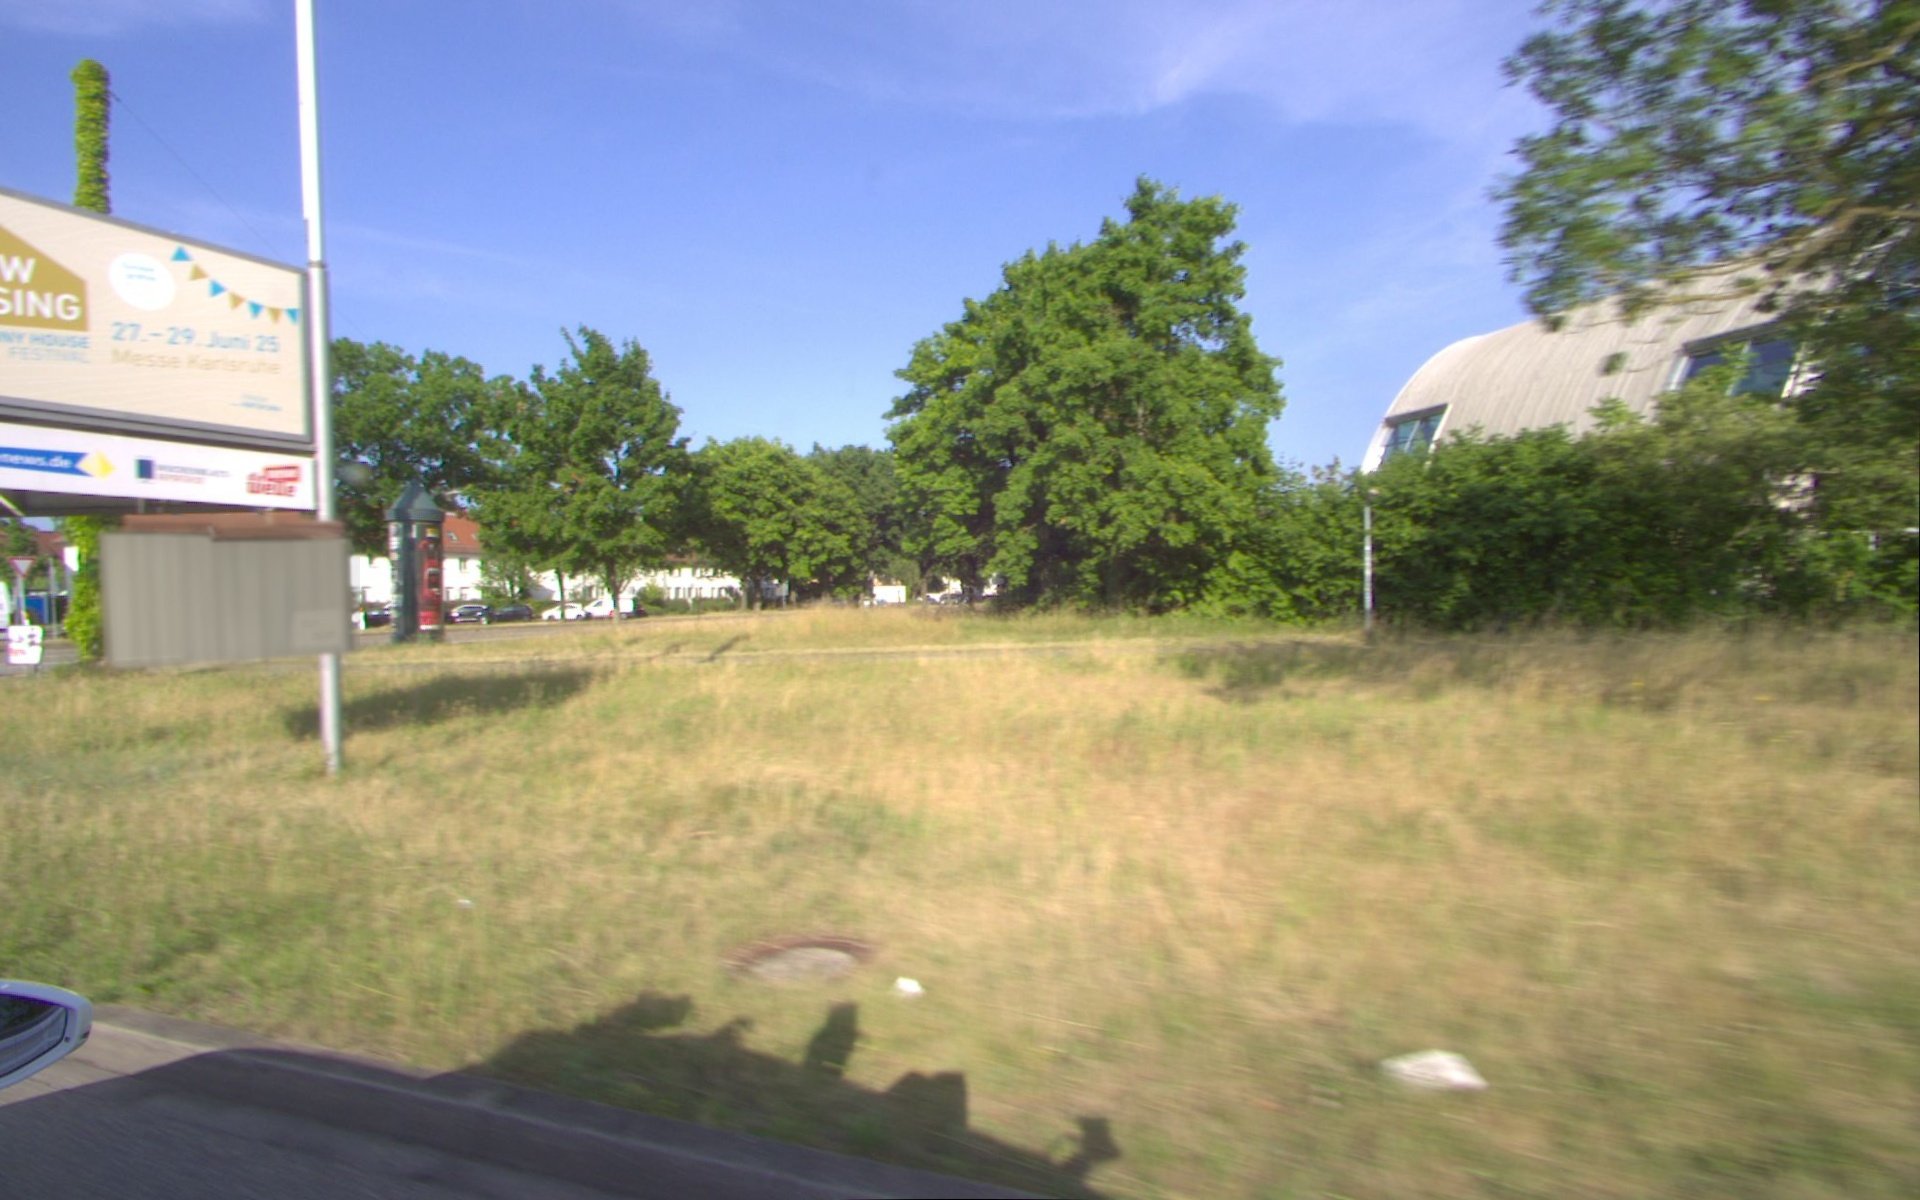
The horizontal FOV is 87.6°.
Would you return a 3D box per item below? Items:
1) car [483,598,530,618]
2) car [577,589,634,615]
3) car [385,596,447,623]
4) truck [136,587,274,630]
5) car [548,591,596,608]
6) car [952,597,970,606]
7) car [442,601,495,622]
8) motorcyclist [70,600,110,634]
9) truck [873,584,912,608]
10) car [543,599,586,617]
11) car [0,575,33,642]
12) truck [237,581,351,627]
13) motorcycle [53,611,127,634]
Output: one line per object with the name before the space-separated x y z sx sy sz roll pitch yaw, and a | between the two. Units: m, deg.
car | -38.075 0.661 84.197 3.373 1.534 1.891 -1 1 -19
car | -33.098 0.194 93.591 4.897 2.262 1.993 -1 1 -23
car | -40.880 0.711 75.323 3.845 1.946 1.890 -1 1 -23
truck | -45.622 0.497 60.670 6.239 2.558 2.275 0 1 -12
car | -42.578 -0.054 109.992 4.895 1.742 1.994 -1 1 23
car | 0.229 0.262 165.204 1.686 1.371 3.991 -1 1 20
car | -38.572 0.862 78.682 3.439 1.534 1.891 -1 1 -19
motorcyclist | -36.238 0.706 41.721 0.668 1.370 1.066 0 1 22
truck | -10.089 -0.613 149.001 5.421 3.511 1.991 -1 1 -27
car | -34.734 0.692 87.996 3.373 1.534 1.891 -1 1 -19
car | -38.903 0.354 37.250 1.967 2.618 6.210 0 0 23
truck | -43.981 0.243 66.308 5.979 2.893 1.889 -1 1 -23
motorcycle | -36.222 0.918 41.727 0.679 0.878 2.272 0 0 22
